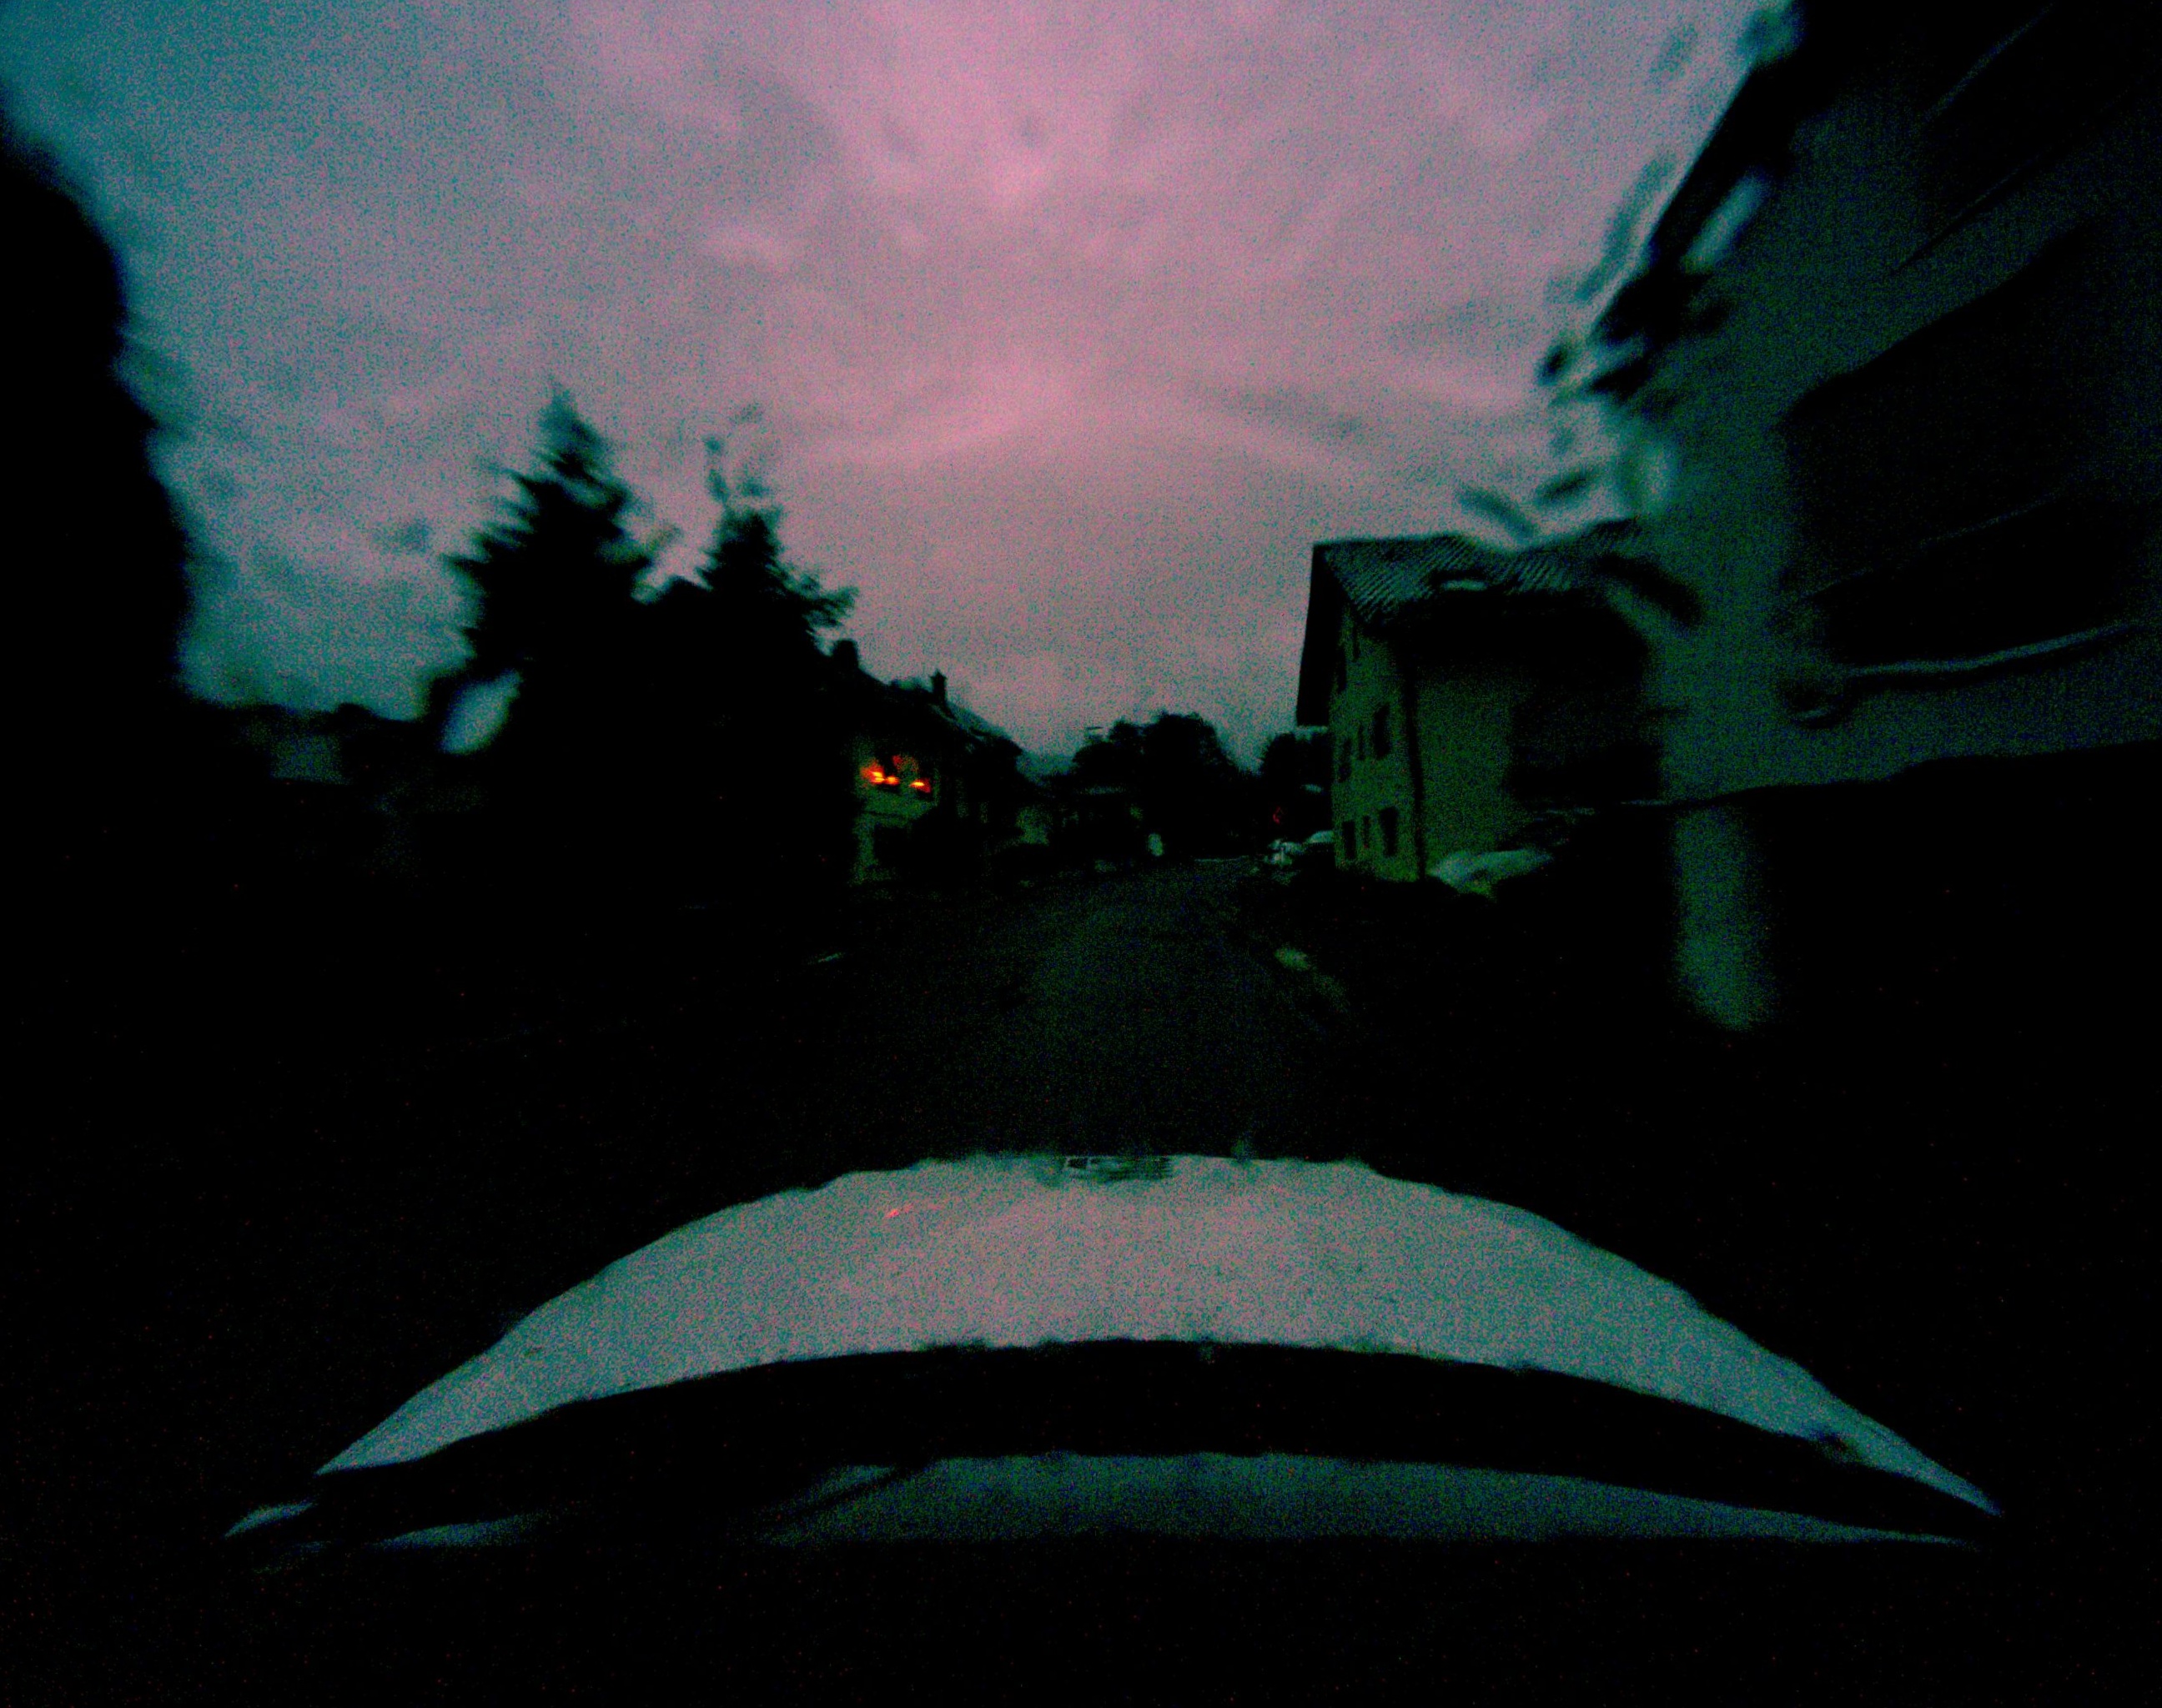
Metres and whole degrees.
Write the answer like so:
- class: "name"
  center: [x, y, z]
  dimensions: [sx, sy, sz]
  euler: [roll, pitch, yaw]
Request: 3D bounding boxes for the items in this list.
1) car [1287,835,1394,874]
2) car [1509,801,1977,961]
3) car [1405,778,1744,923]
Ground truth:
- class: "car"
  center: [11.806, -0.002, 37.363]
  dimensions: [4.474, 1.443, 2.007]
  euler: [-4, 0, 12]
- class: "car"
  center: [7.369, 0.306, 9.347]
  dimensions: [3.976, 1.457, 1.689]
  euler: [-3, -2, -2]
- class: "car"
  center: [7.850, -0.045, 13.311]
  dimensions: [4.262, 1.456, 1.781]
  euler: [-10, -1, 3]
